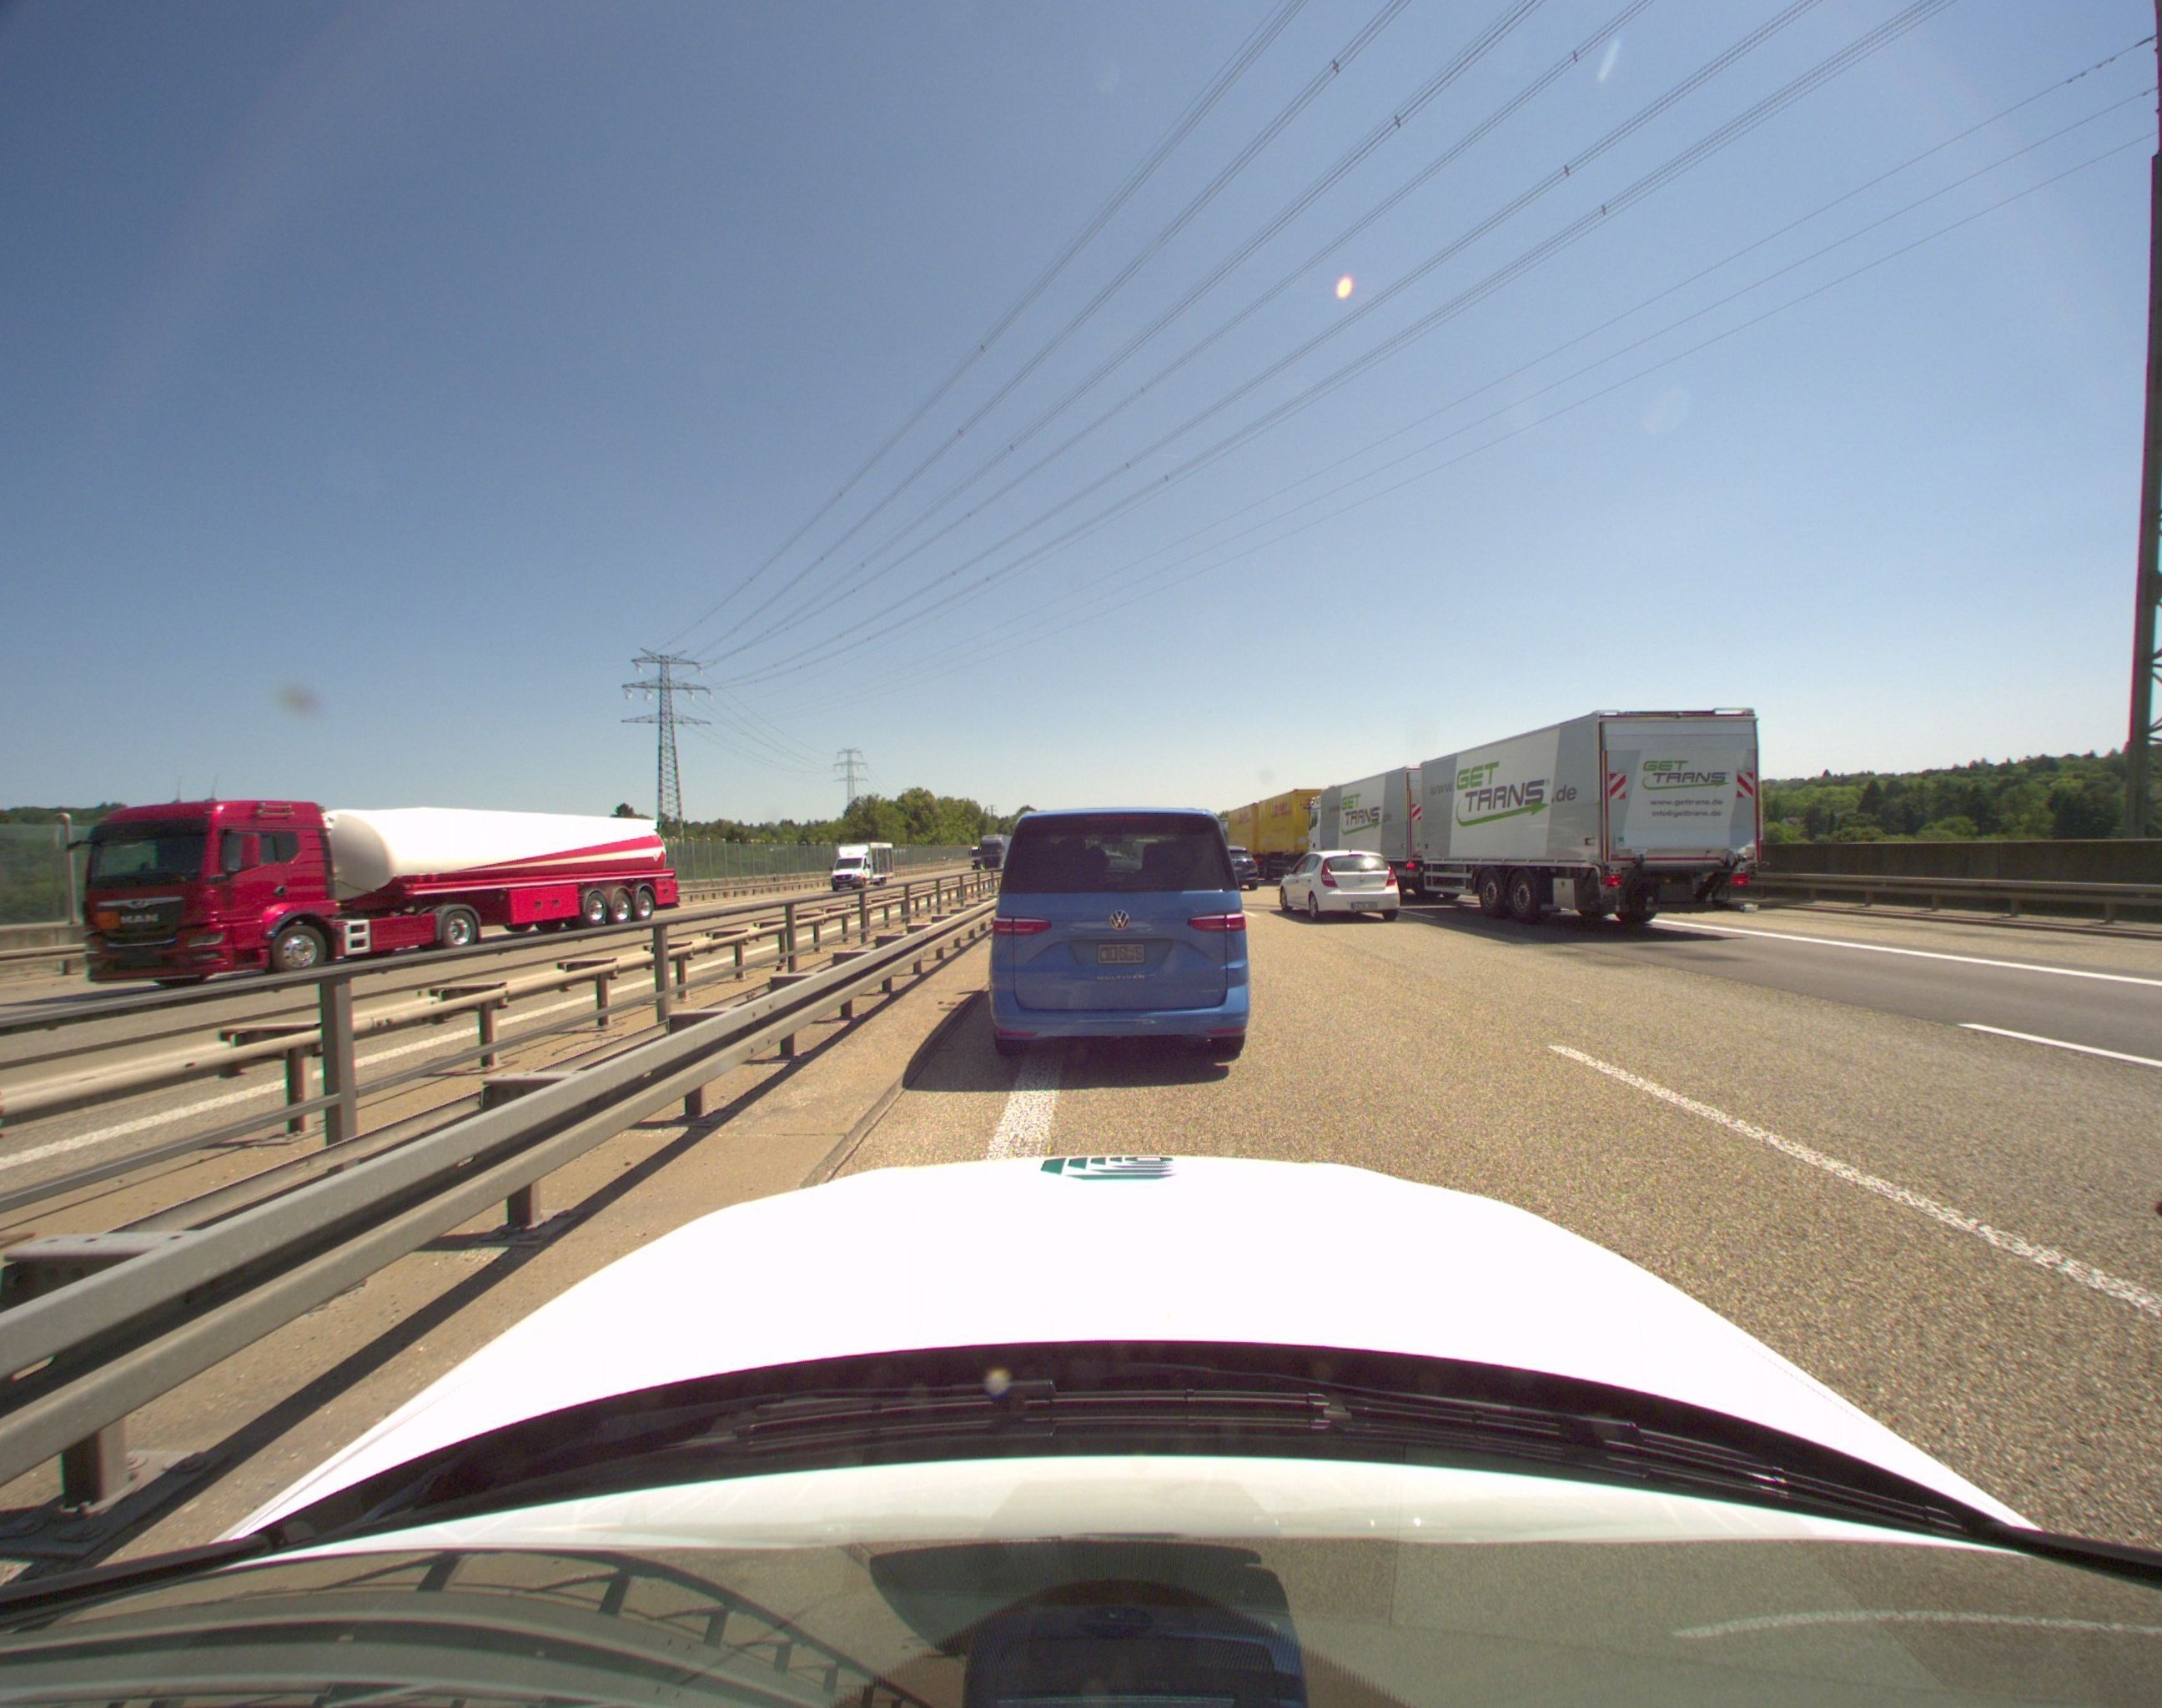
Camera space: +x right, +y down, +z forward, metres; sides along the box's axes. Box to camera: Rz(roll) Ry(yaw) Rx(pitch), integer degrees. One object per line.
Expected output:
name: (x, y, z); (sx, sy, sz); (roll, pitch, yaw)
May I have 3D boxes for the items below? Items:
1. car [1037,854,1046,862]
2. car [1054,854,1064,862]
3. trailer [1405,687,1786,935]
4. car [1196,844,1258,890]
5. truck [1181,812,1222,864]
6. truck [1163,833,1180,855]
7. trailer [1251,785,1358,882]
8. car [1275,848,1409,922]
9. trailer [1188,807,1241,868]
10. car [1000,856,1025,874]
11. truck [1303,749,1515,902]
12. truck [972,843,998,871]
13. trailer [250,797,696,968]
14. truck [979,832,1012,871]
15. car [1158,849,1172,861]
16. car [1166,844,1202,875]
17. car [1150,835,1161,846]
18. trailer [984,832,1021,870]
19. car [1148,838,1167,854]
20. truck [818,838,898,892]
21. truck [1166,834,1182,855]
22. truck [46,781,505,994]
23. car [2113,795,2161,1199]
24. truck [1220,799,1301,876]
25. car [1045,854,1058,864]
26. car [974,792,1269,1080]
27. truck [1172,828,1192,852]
car: (-9.387, 0.926, 193.050); (1.800, 1.640, 4.000); (-4, -1, 0)
car: (-4.391, 0.821, 166.295); (1.875, 1.552, 4.189); (0, -1, 0)
trailer: (9.725, -0.646, 16.940); (2.888, 3.891, 8.216); (0, -1, 1)
car: (5.642, 0.504, 31.911); (1.808, 1.679, 3.933); (0, -1, 2)
truck: (11.239, -1.393, 76.749); (3.014, 4.611, 7.925); (0, -1, 2)
truck: (10.899, -1.216, 98.156); (1.735, 2.549, 4.212); (0, -1, 2)
trailer: (10.337, -0.836, 38.753); (2.673, 4.088, 8.980); (0, -1, 1)
car: (5.699, 0.636, 18.311); (1.809, 1.470, 3.932); (0, -1, 1)
trailer: (10.871, -1.208, 67.329); (3.014, 4.611, 10.930); (0, -1, 2)
car: (-6.497, 1.043, 77.566); (1.791, 1.498, 3.853); (-3, -1, 2)
truck: (9.939, -0.700, 26.434); (2.841, 3.934, 10.612); (0, -1, 1)
truck: (-13.191, 0.418, 112.412); (2.511, 3.535, 5.333); (-3, -1, 2)
trailer: (-15.516, 0.639, 22.947); (2.865, 3.379, 12.016); (-4, -1, 3)
truck: (-9.412, -0.265, 90.351); (2.743, 4.116, 6.267); (-2, -1, 1)
car: (12.730, 0.144, 123.726); (1.790, 1.751, 3.945); (0, -1, 2)
car: (6.689, 0.382, 53.093); (1.955, 1.936, 3.933); (0, -1, 2)
car: (12.989, -2.394, 142.209); (1.790, 1.751, 3.945); (0, -1, 2)
trailer: (-9.234, -0.257, 97.229); (2.695, 4.165, 12.052); (-3, -1, 1)
car: (8.673, -0.904, 92.253); (1.912, 1.706, 4.001); (0, -1, 2)
truck: (-14.804, 0.710, 54.766); (2.553, 3.188, 8.298); (-4, -1, 2)
truck: (11.808, -1.167, 103.519); (1.790, 2.596, 4.307); (0, -1, 2)
truck: (-15.789, 0.588, 16.831); (2.896, 3.415, 6.299); (-3, -1, 3)
car: (5.270, 0.577, 1.376); (1.702, 1.679, 4.286); (0, -1, 2)
truck: (10.384, -0.839, 48.228); (2.690, 4.088, 9.940); (0, -1, 1)
car: (-4.706, 0.850, 130.387); (1.875, 1.552, 4.189); (0, -1, 0)
car: (0.325, 0.556, 7.355); (1.923, 1.874, 4.001); (0, -1, 2)
truck: (11.058, -1.497, 89.444); (1.791, 2.449, 4.506); (0, -1, 2)
